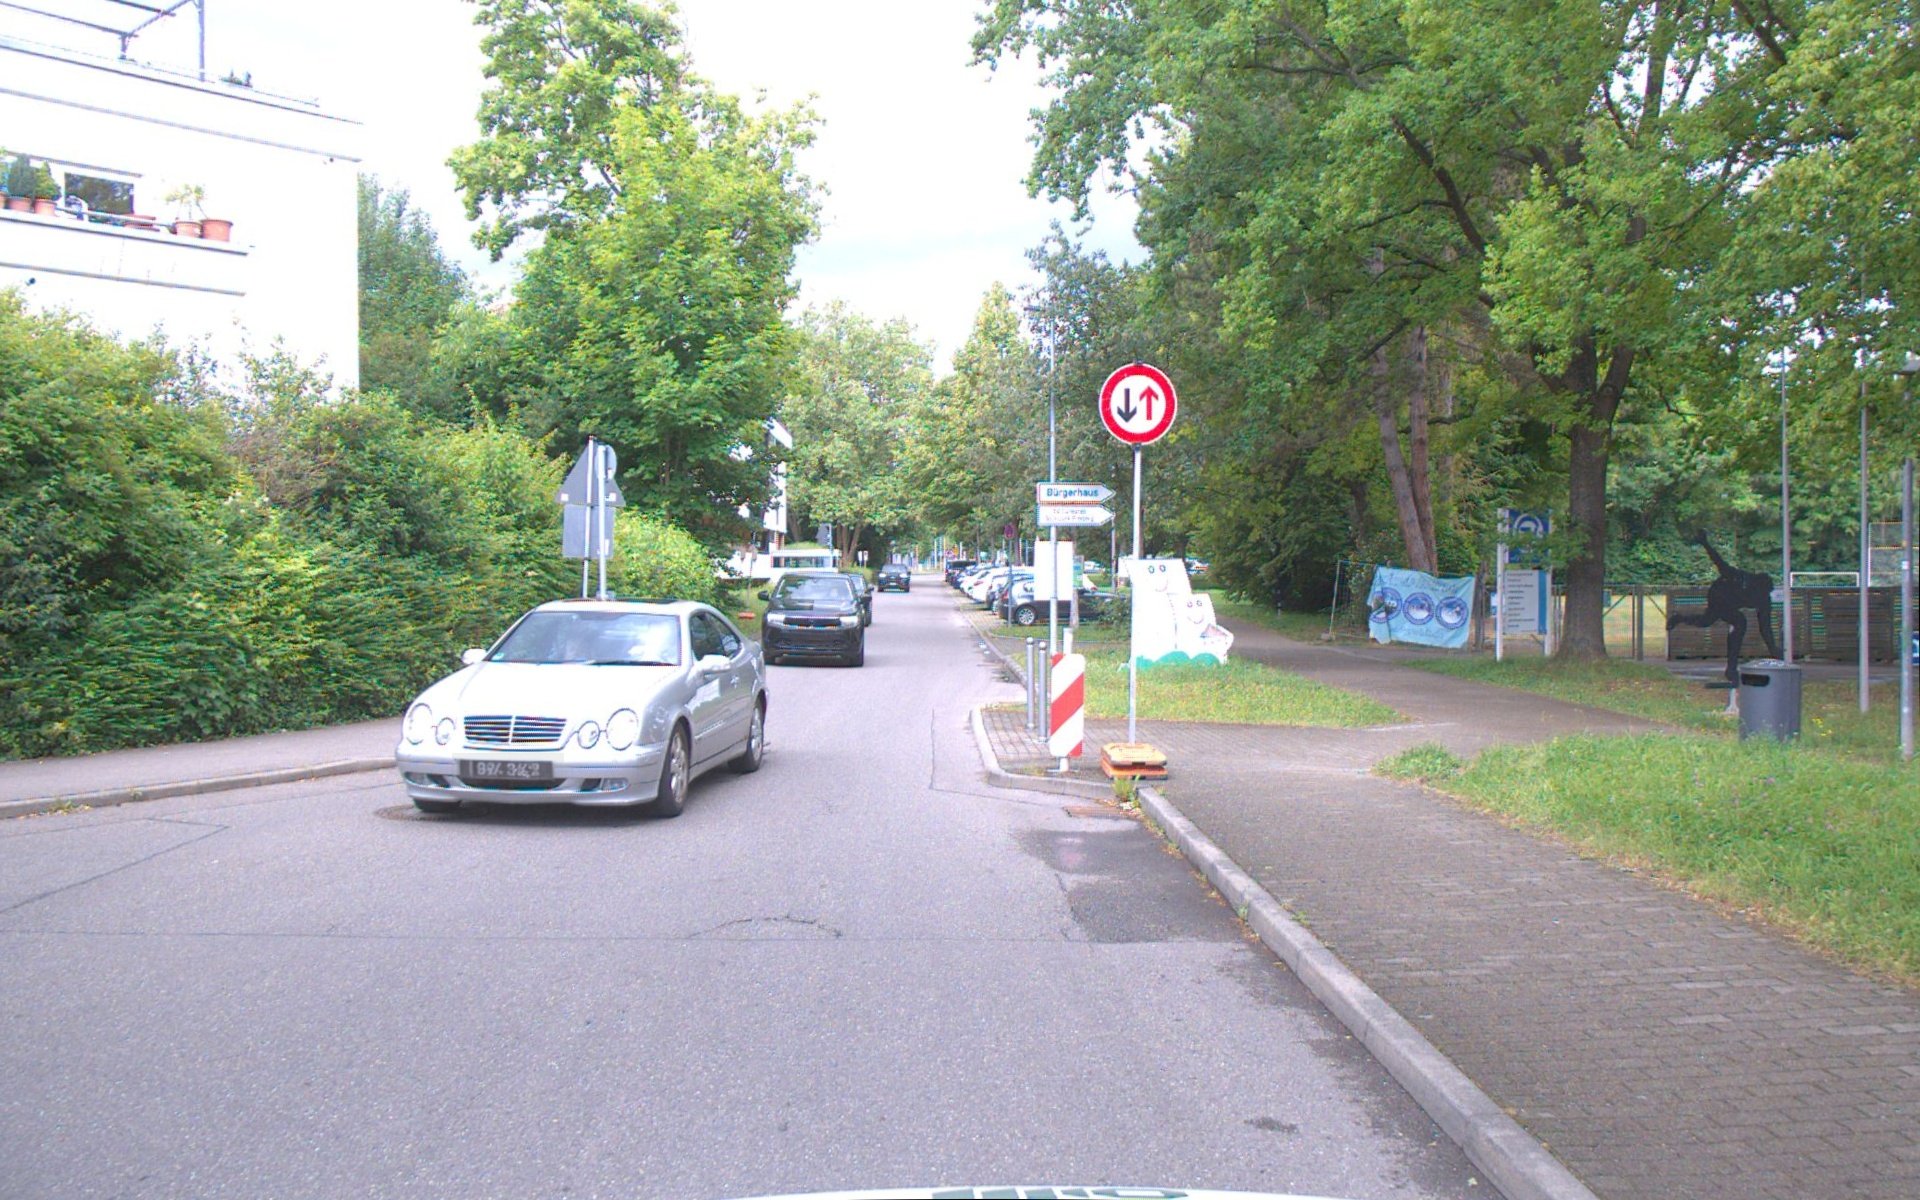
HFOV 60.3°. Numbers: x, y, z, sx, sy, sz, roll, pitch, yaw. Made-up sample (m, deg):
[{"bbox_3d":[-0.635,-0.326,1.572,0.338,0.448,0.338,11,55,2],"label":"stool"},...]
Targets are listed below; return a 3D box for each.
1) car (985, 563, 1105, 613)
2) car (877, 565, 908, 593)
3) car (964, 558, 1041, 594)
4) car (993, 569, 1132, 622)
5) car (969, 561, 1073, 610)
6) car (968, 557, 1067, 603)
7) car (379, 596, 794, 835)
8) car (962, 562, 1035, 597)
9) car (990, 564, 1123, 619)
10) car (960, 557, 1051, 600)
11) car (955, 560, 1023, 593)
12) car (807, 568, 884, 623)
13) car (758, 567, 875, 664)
[{"bbox_3d":[2.911,-0.414,57.310,3.981,1.595,1.822,-2,1,-2],"label":"car"},{"bbox_3d":[-4.299,-1.346,105.389,1.929,1.778,4.337,0,1,-2],"label":"car"},{"bbox_3d":[2.316,-1.320,91.043,3.984,1.716,1.821,-4,1,-5],"label":"car"},{"bbox_3d":[3.043,-0.125,49.742,3.981,1.459,1.999,-2,-1,-2],"label":"car"},{"bbox_3d":[2.473,-0.614,67.448,3.984,1.716,1.821,-4,1,-5],"label":"car"},{"bbox_3d":[2.464,-0.867,71.311,3.984,1.716,1.821,-4,1,-5],"label":"car"},{"bbox_3d":[-2.412,0.668,11.830,1.743,1.329,4.298,0,1,4],"label":"car"},{"bbox_3d":[2.240,-1.203,96.807,3.984,1.716,1.821,-4,1,-5],"label":"car"},{"bbox_3d":[3.005,-0.247,52.032,3.981,1.596,1.821,-2,-1,-2],"label":"car"},{"bbox_3d":[2.095,-0.995,77.337,3.984,1.716,1.821,-4,1,-5],"label":"car"},{"bbox_3d":[1.767,-1.444,101.944,3.984,1.716,1.821,-4,1,-5],"label":"car"},{"bbox_3d":[-3.467,-0.173,50.909,1.765,1.619,4.298,0,1,4],"label":"car"},{"bbox_3d":[-2.515,0.221,29.780,1.766,1.619,4.296,0,1,-1],"label":"car"}]
